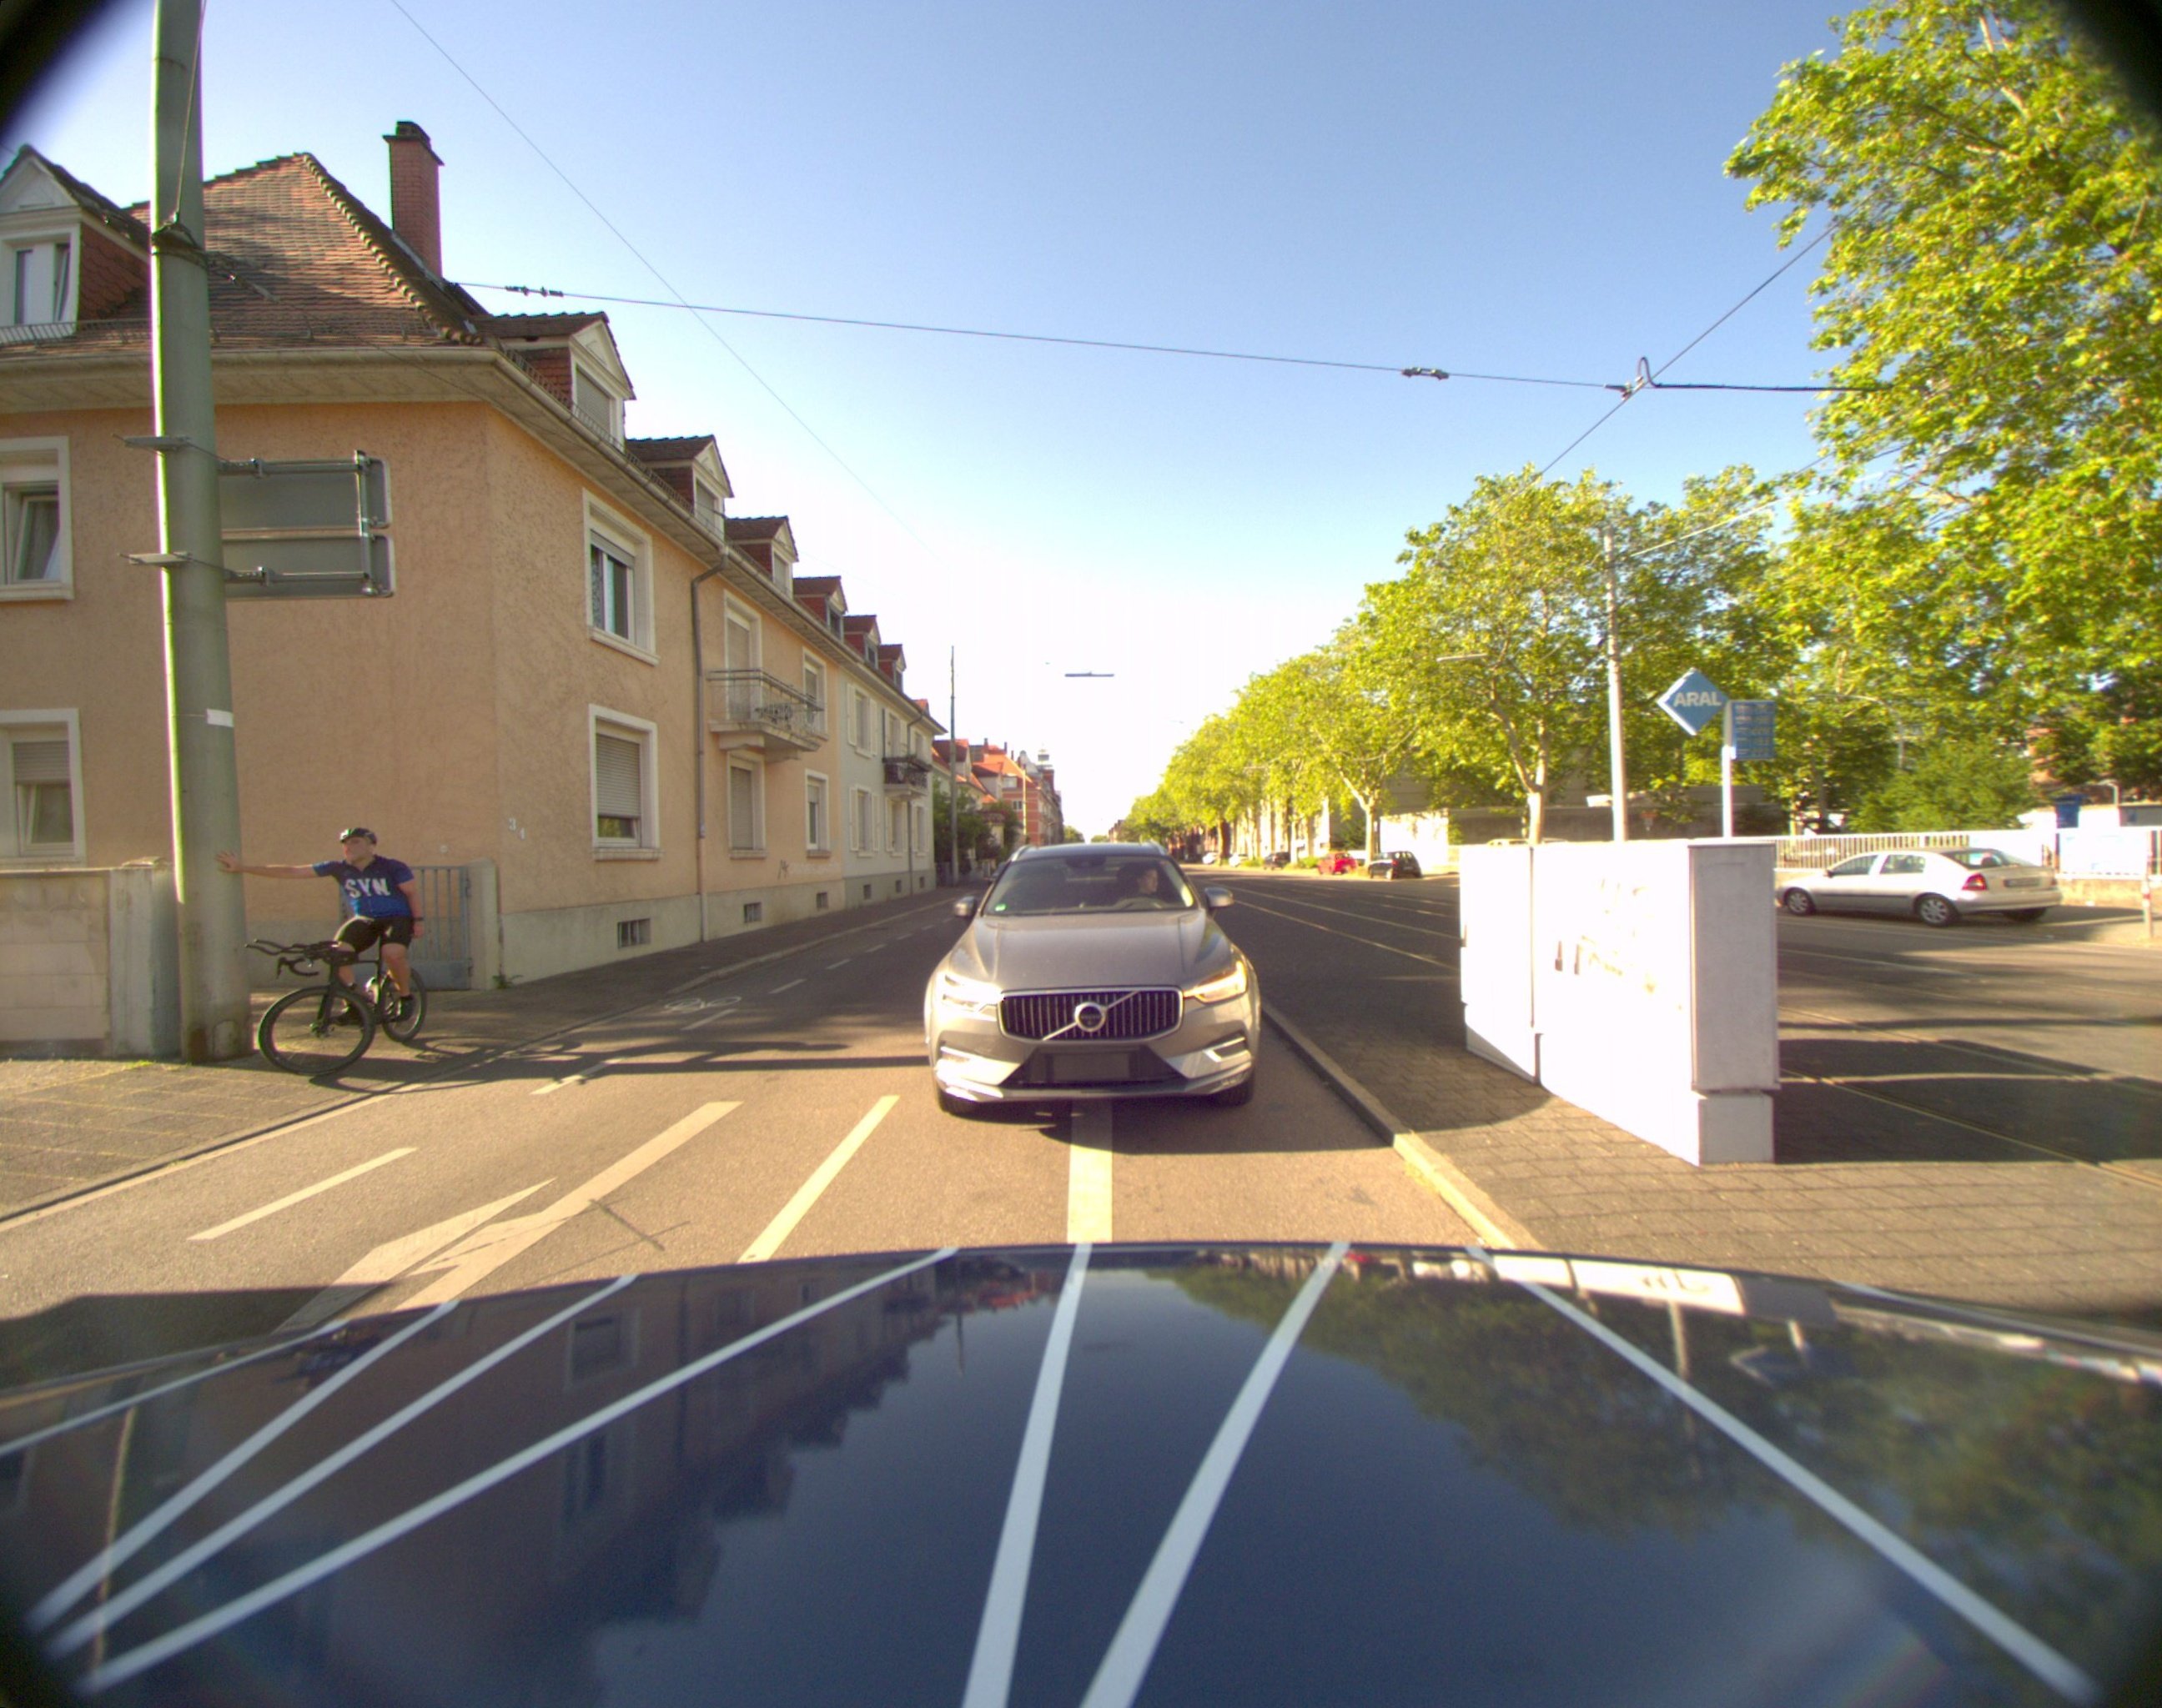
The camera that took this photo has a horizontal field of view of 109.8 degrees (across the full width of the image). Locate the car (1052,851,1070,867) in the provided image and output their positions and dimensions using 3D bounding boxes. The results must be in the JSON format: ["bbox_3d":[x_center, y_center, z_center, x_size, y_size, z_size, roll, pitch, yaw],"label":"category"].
[{"bbox_3d":[-2.250,0.549,85.476,1.999,1.641,4.658,-1,0,-1],"label":"car"}]

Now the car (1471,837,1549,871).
[{"bbox_3d":[21.745,-0.027,38.708,1.845,1.524,4.001,-4,0,4],"label":"car"}]

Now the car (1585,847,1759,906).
[{"bbox_3d":[16.513,0.566,21.542,1.845,1.400,4.138,-4,0,4],"label":"car"}]

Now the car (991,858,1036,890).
[{"bbox_3d":[-3.234,0.943,36.968,1.847,1.412,3.999,-1,0,-1],"label":"car"}]

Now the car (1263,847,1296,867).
[{"bbox_3d":[17.163,0.225,65.889,1.845,1.607,4.098,-4,0,3],"label":"car"}]

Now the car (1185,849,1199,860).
[{"bbox_3d":[18.361,-0.004,125.403,1.845,1.664,4.098,-4,0,3],"label":"car"}]

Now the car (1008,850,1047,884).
[{"bbox_3d":[-2.940,0.682,42.310,1.847,1.742,4.144,-1,0,0],"label":"car"}]

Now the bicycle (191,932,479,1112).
[{"bbox_3d":[-5.931,1.271,6.206,0.594,1.045,1.719,4,1,1],"label":"bicycle"}]

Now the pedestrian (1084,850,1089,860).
[{"bbox_3d":[1.177,0.231,162.146,1.104,2.002,1.242,-2,1,1],"label":"pedestrian"}]

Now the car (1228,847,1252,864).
[{"bbox_3d":[17.484,0.119,83.537,1.845,1.664,4.098,-4,0,3],"label":"car"}]

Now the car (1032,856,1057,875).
[{"bbox_3d":[-2.884,0.858,60.398,1.808,1.402,3.999,-1,0,-1],"label":"car"}]

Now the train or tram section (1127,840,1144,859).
[{"bbox_3d":[10.885,-0.956,152.583,2.843,3.456,10.182,-2,1,2],"label":"train or tram section"}]

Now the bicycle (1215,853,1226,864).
[{"bbox_3d":[15.026,0.464,81.888,0.654,1.114,2.533,-1,0,1],"label":"bicycle"}]

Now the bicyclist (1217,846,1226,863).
[{"bbox_3d":[15.090,0.037,81.742,0.720,1.853,1.071,-1,1,0],"label":"bicyclist"}]

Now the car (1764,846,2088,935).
[{"bbox_3d":[16.232,0.615,14.970,1.846,1.400,3.999,-4,0,-1],"label":"car"}]

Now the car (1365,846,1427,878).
[{"bbox_3d":[16.962,0.408,41.080,1.845,1.524,4.001,-4,0,4],"label":"car"}]

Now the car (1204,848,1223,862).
[{"bbox_3d":[17.588,0.078,100.899,1.845,1.664,4.098,-4,0,3],"label":"car"}]

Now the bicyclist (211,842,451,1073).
[{"bbox_3d":[-6.175,0.805,6.322,1.071,1.728,0.853,4,1,1],"label":"bicyclist"}]

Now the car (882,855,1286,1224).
[{"bbox_3d":[-0.002,0.884,5.779,1.892,1.695,4.318,-1,0,-1],"label":"car"}]

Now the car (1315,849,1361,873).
[{"bbox_3d":[16.957,0.446,50.304,1.845,1.400,4.001,-4,0,3],"label":"car"}]

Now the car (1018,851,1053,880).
[{"bbox_3d":[-2.775,0.663,46.743,1.847,1.681,4.000,-1,0,0],"label":"car"}]

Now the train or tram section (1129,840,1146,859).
[{"bbox_3d":[10.476,-0.873,142.391,2.861,3.456,10.185,-1,0,3],"label":"train or tram section"}]

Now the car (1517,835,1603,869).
[{"bbox_3d":[24.039,-0.110,38.330,1.845,1.524,4.000,-4,0,2],"label":"car"}]

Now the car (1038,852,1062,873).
[{"bbox_3d":[-2.680,0.692,65.761,1.847,1.681,4.000,-1,0,0],"label":"car"}]
